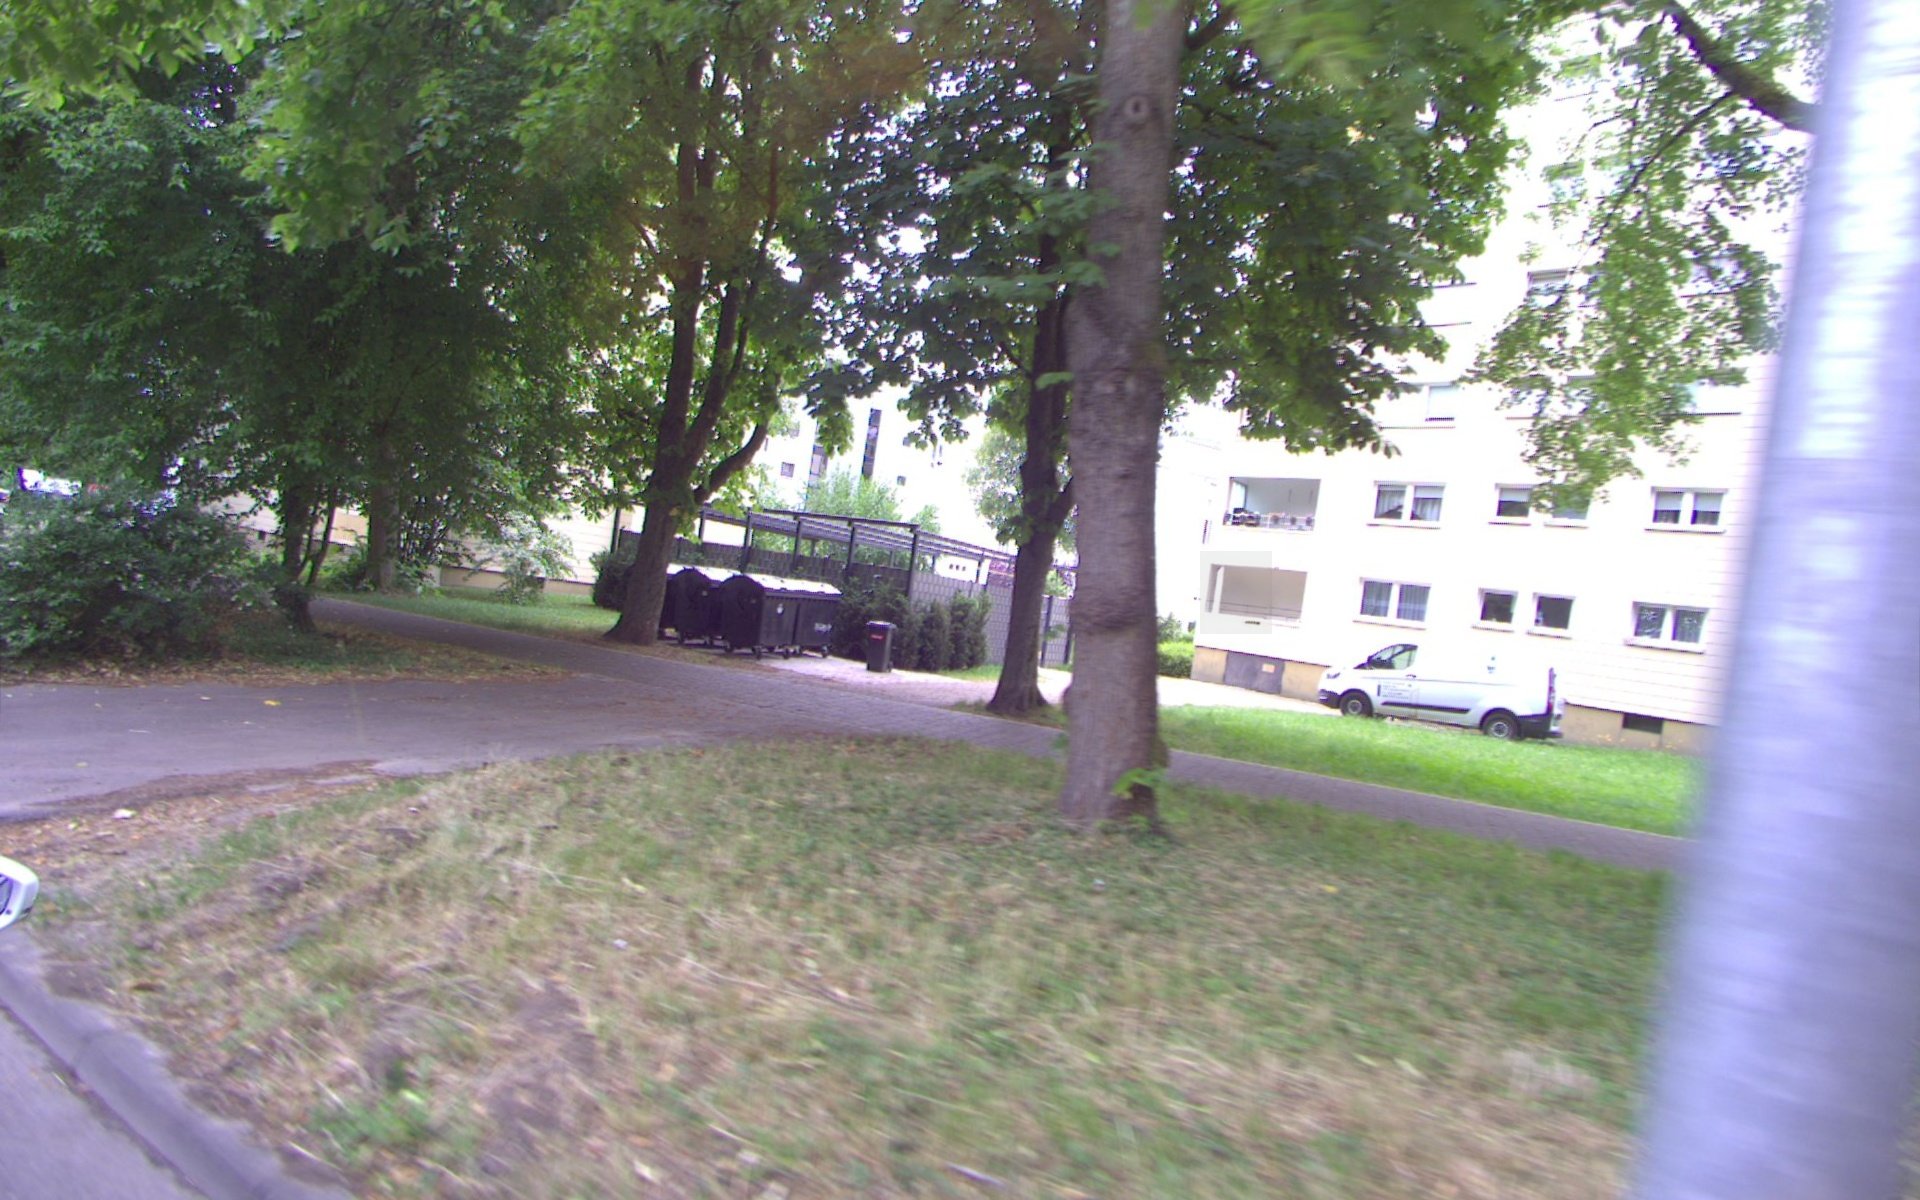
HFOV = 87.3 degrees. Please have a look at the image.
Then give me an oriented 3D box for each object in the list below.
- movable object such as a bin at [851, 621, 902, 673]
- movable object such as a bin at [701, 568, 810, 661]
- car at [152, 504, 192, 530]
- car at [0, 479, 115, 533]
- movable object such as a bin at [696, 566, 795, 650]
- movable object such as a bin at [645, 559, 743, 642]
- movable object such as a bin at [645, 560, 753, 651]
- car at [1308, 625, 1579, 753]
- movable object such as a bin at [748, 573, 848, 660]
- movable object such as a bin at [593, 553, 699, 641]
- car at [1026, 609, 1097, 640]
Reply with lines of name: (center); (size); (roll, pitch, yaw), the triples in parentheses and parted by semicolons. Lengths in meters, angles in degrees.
movable object such as a bin: (-1.577, 0.890, 19.055); (0.657, 0.889, 0.600); (8, 1, 25)
movable object such as a bin: (-3.759, 0.279, 18.594); (1.291, 1.520, 1.329); (8, 1, 25)
car: (-57.050, -6.029, 72.798); (2.074, 1.529, 3.956); (7, 0, -39)
car: (-43.893, -4.572, 48.935); (3.971, 1.747, 1.780); (10, 1, -37)
movable object such as a bin: (-4.364, 0.182, 20.509); (1.291, 1.520, 1.329); (8, 1, 25)
movable object such as a bin: (-5.553, 0.021, 21.073); (1.291, 1.520, 1.329); (8, 1, 25)
movable object such as a bin: (-4.960, 0.121, 19.165); (1.291, 1.520, 1.329); (8, 1, 25)
car: (10.559, 1.867, 22.152); (4.890, 1.866, 2.085); (9, 2, 36)
movable object such as a bin: (-3.188, 0.343, 19.906); (1.291, 1.520, 1.329); (8, 1, 25)
movable object such as a bin: (-6.142, -0.043, 19.747); (1.291, 1.520, 1.329); (8, 1, 25)
car: (6.818, 1.656, 67.762); (4.272, 1.529, 1.793); (7, 0, -17)
